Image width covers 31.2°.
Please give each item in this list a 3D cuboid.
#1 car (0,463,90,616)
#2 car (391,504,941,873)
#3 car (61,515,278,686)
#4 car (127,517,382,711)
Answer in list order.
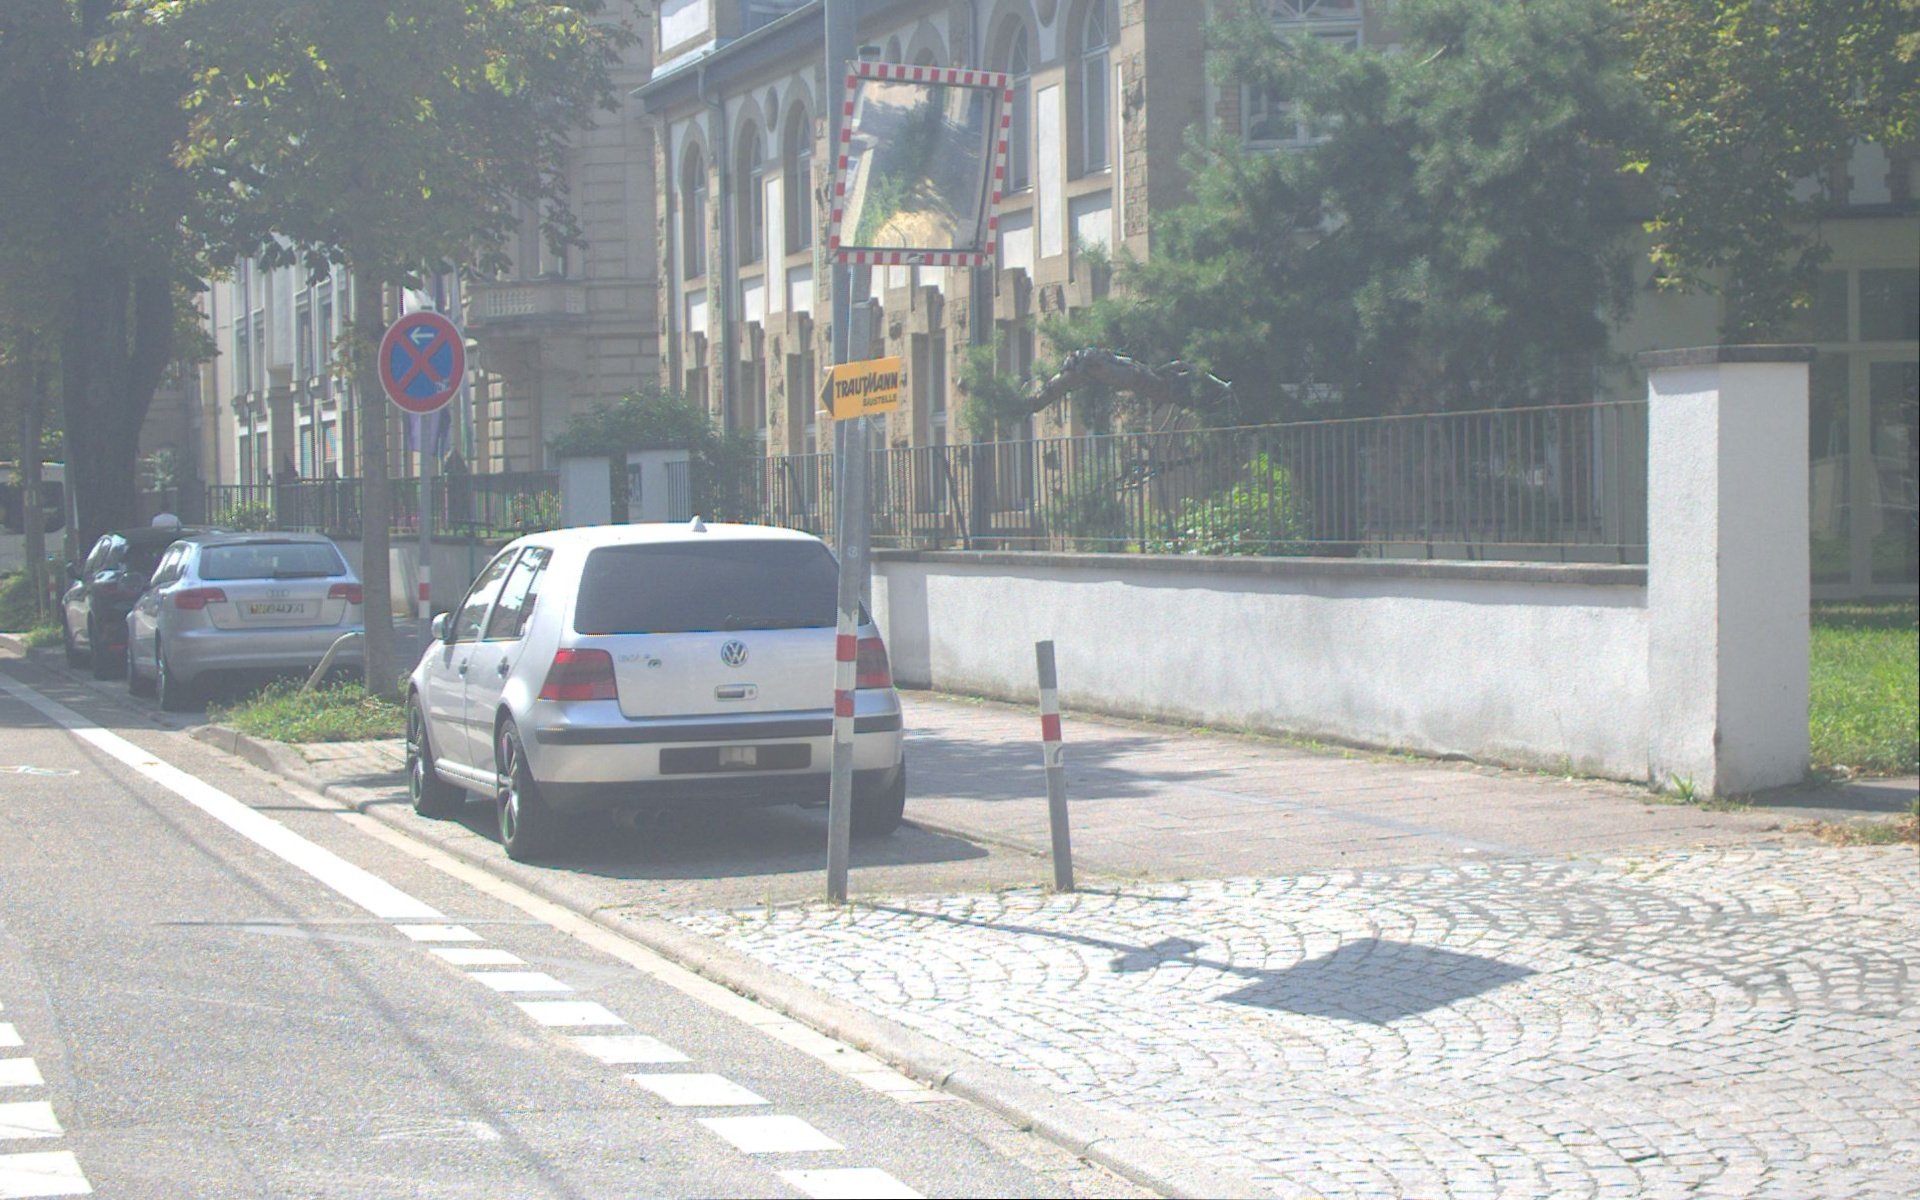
[{"bbox_3d":[-15.098,-0.964,54.971,1.993,2.357,4.001,-1,1,-19],"label":"car"},{"bbox_3d":[-1.488,0.317,15.983,1.791,1.441,3.734,-2,2,-16],"label":"car"},{"bbox_3d":[-7.922,-0.049,34.225,1.794,1.571,4.001,-1,2,-17],"label":"car"},{"bbox_3d":[-5.964,0.075,28.791,1.640,1.506,3.642,-1,1,-19],"label":"car"}]
